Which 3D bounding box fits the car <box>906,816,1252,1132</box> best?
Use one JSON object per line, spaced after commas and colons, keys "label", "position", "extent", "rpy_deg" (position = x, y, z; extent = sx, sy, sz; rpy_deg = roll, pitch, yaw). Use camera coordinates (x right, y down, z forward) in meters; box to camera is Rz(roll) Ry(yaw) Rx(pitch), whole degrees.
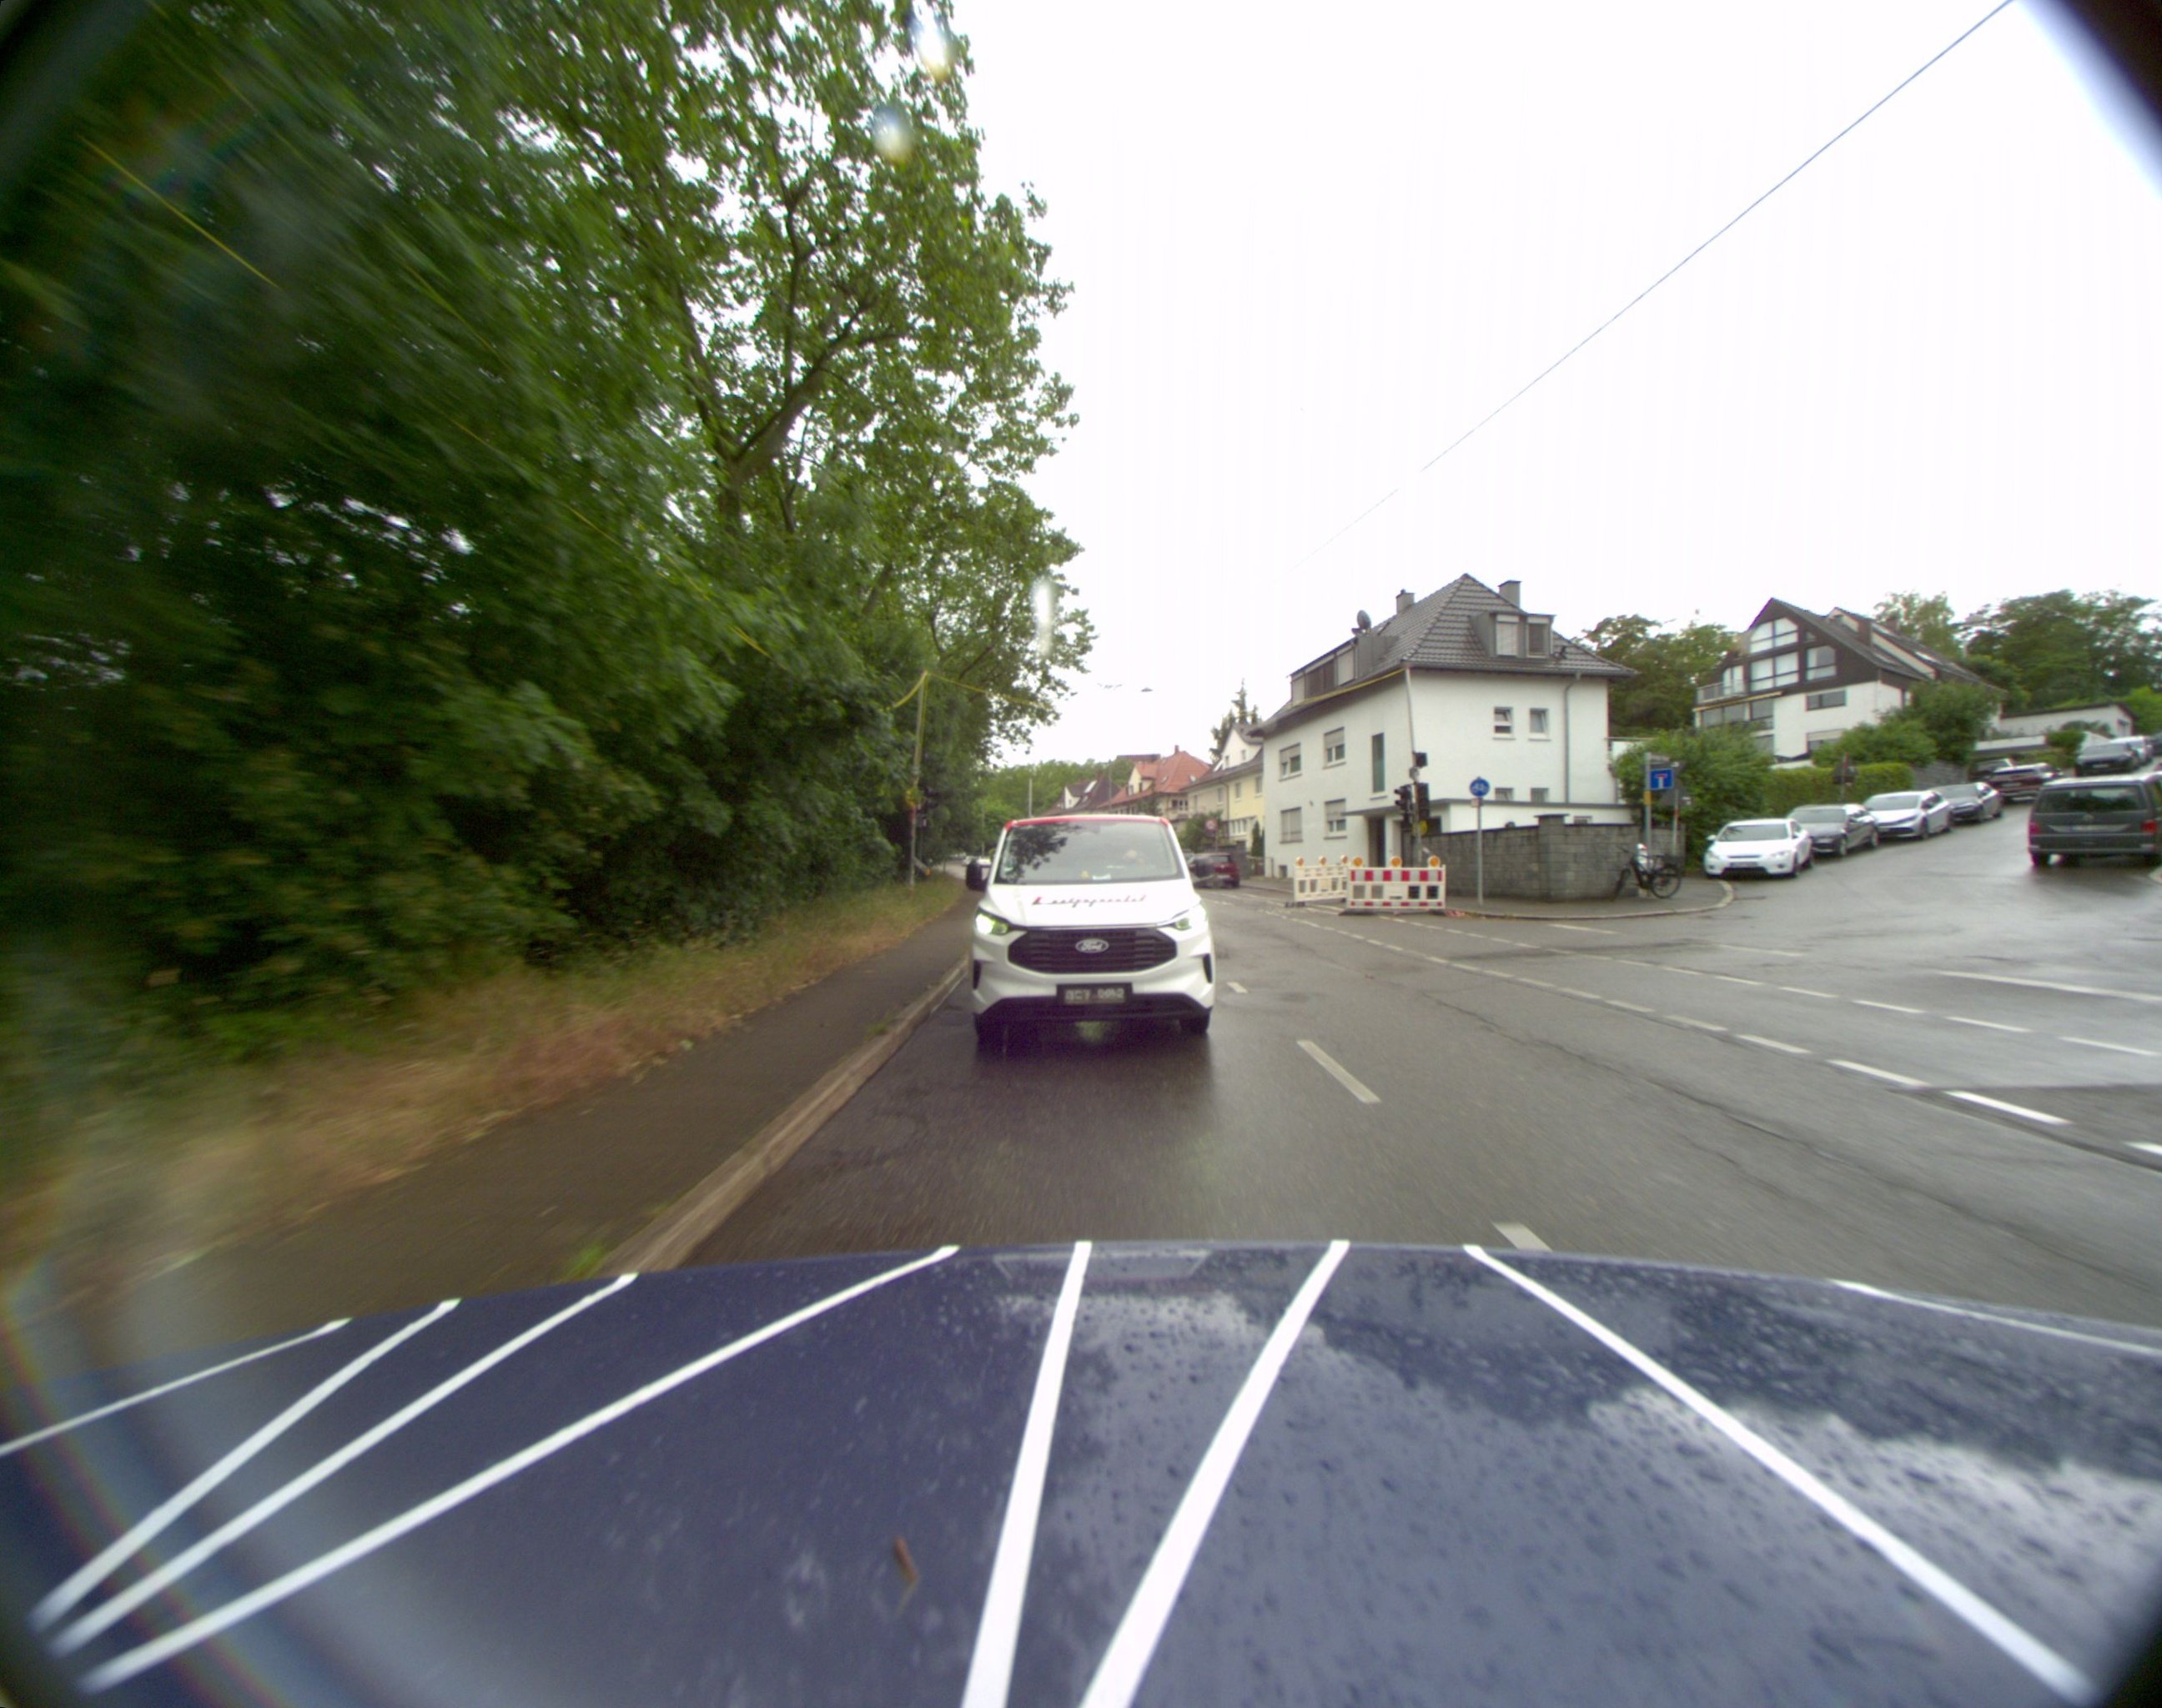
{"label": "car", "position": [0.104, 0.708, 7.252], "extent": [2.045, 1.883, 5.209], "rpy_deg": [-2, 1, 3]}

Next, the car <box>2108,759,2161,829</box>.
{"label": "car", "position": [33.749, -1.933, 23.510], "extent": [3.416, 1.827, 1.917], "rpy_deg": [-9, 3, -29]}

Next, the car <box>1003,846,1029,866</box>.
{"label": "car", "position": [-6.776, 0.198, 78.652], "extent": [2.001, 2.002, 3.994], "rpy_deg": [-3, 1, -15]}

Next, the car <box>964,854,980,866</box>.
{"label": "car", "position": [-15.267, 0.860, 106.482], "extent": [1.766, 1.519, 3.586], "rpy_deg": [-3, 1, -15]}

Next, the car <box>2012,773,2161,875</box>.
{"label": "car", "position": [24.244, -0.733, 18.124], "extent": [3.800, 1.926, 1.911], "rpy_deg": [-9, 3, -29]}

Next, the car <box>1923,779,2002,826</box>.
{"label": "car", "position": [33.228, -1.940, 28.631], "extent": [3.507, 1.383, 1.333], "rpy_deg": [-8, 4, -30]}

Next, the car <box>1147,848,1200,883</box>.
{"label": "car", "position": [4.521, 0.590, 37.553], "extent": [1.670, 1.579, 4.004], "rpy_deg": [-3, -1, -6]}

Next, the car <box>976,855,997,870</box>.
{"label": "car", "position": [-12.097, 1.084, 97.204], "extent": [2.001, 1.850, 4.354], "rpy_deg": [-3, 1, -15]}

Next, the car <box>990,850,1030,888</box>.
{"label": "car", "position": [-3.310, 0.696, 35.262], "extent": [1.670, 1.579, 4.004], "rpy_deg": [-3, -1, -6]}

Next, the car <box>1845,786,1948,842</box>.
{"label": "car", "position": [27.887, -1.370, 25.957], "extent": [3.858, 1.458, 1.579], "rpy_deg": [-8, 4, -30]}

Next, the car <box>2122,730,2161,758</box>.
{"label": "car", "position": [69.777, -7.221, 48.607], "extent": [1.582, 1.492, 3.608], "rpy_deg": [-9, 3, -32]}

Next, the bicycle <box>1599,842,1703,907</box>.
{"label": "bicycle", "position": [12.293, 0.430, 16.410], "extent": [1.732, 1.304, 0.707], "rpy_deg": [-2, 1, -5]}

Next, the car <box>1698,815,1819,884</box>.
{"label": "car", "position": [18.265, -0.150, 20.436], "extent": [3.566, 1.458, 1.746], "rpy_deg": [-7, 2, -38]}

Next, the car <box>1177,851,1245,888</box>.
{"label": "car", "position": [5.494, 0.689, 32.627], "extent": [1.898, 1.485, 3.796], "rpy_deg": [-1, -2, -6]}

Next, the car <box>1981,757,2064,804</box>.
{"label": "car", "position": [41.725, -3.255, 33.648], "extent": [3.988, 1.547, 1.333], "rpy_deg": [-9, 3, -24]}

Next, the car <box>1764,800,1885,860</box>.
{"label": "car", "position": [23.232, -0.751, 23.720], "extent": [3.859, 1.458, 1.701], "rpy_deg": [-7, 2, -31]}

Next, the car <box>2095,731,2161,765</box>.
{"label": "car", "position": [62.594, -6.302, 45.304], "extent": [3.834, 1.492, 1.734], "rpy_deg": [-9, 3, -24]}

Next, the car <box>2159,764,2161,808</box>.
{"label": "car", "position": [38.543, -2.528, 25.950], "extent": [3.564, 1.461, 1.580], "rpy_deg": [-9, 3, -29]}

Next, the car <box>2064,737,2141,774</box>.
{"label": "car", "position": [56.121, -5.434, 41.751], "extent": [3.834, 1.492, 1.734], "rpy_deg": [-9, 3, -24]}
